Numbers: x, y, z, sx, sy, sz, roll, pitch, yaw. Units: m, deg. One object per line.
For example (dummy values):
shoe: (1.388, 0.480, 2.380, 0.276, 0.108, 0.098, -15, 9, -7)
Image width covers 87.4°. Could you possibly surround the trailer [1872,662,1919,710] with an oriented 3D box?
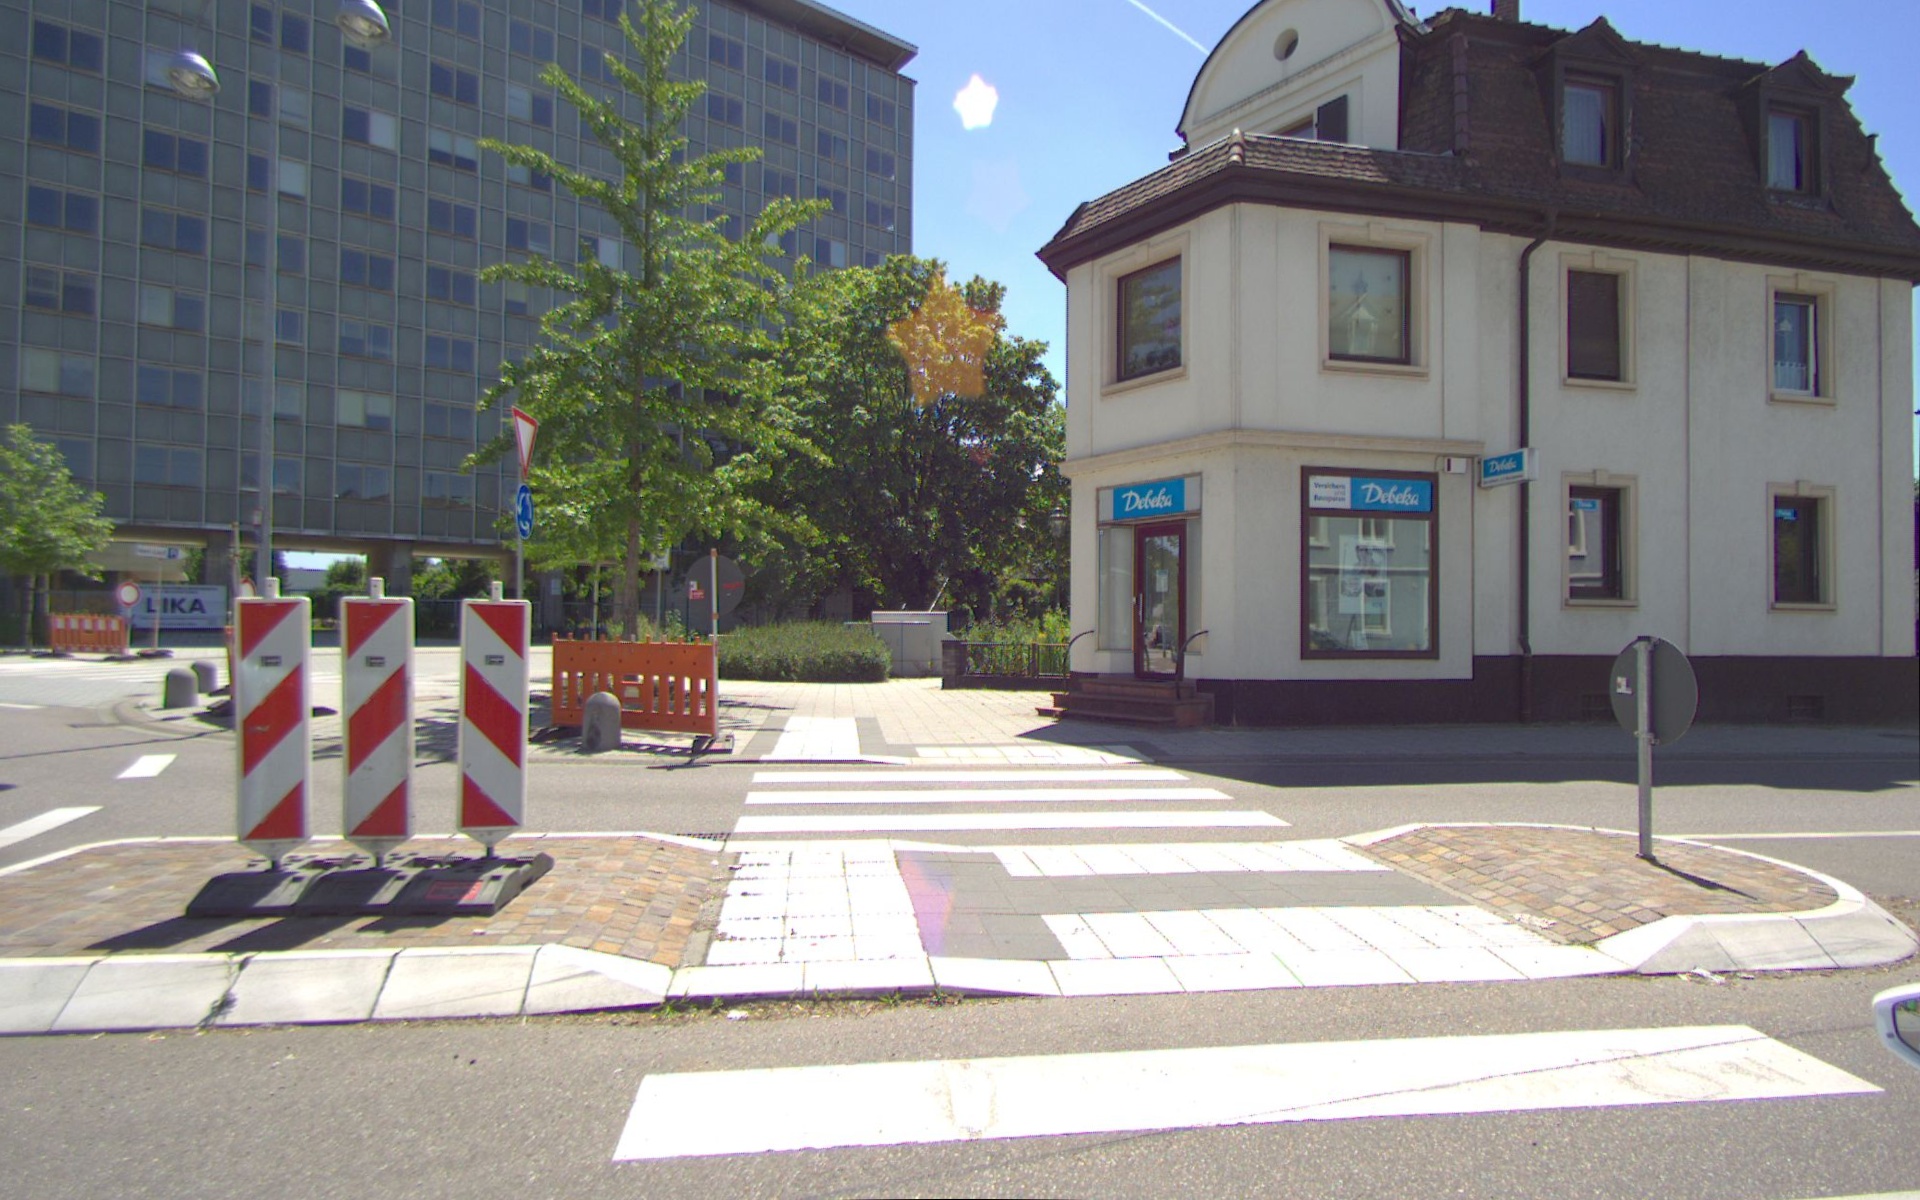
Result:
trailer: (19.982, 1.768, 20.659, 1.335, 0.872, 2.810, 1, -1, 32)
